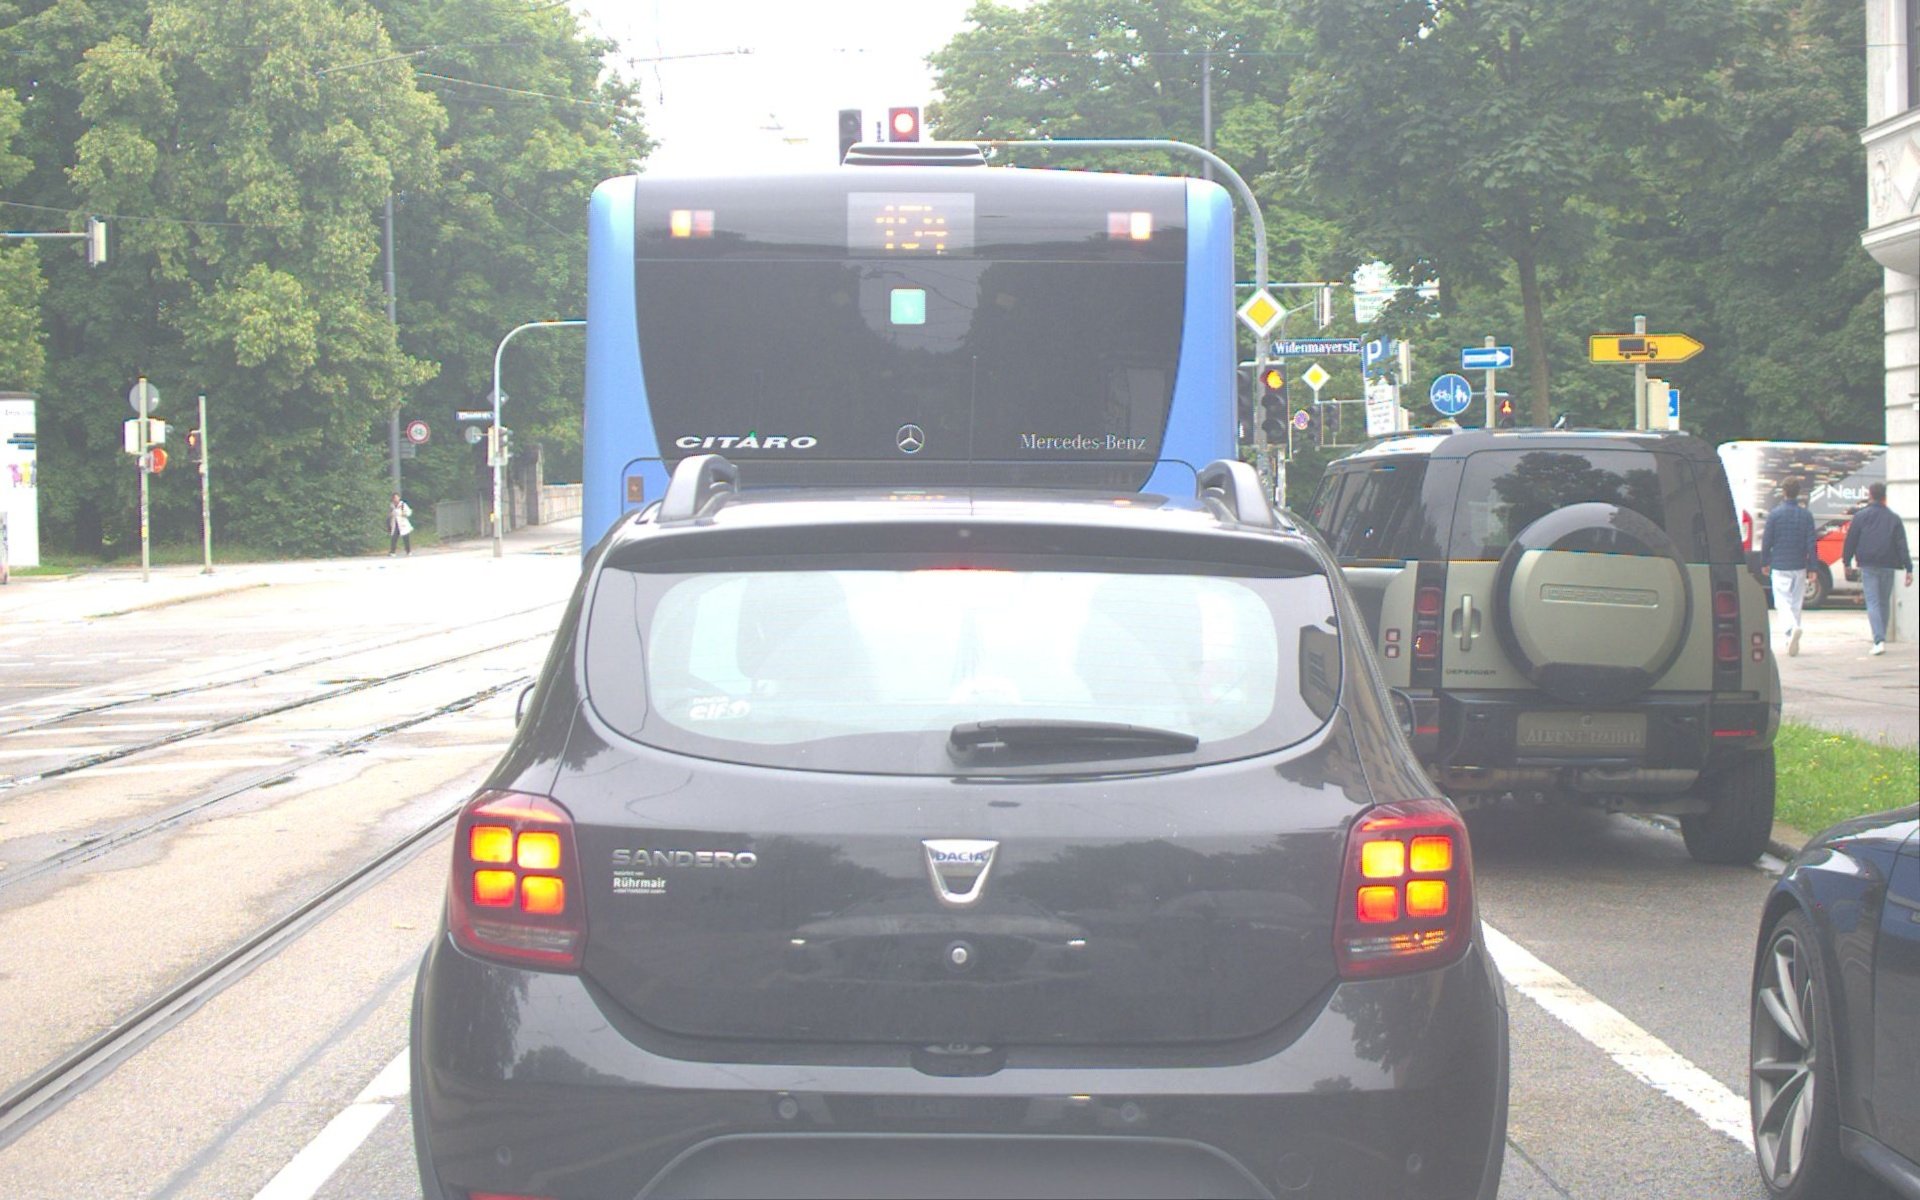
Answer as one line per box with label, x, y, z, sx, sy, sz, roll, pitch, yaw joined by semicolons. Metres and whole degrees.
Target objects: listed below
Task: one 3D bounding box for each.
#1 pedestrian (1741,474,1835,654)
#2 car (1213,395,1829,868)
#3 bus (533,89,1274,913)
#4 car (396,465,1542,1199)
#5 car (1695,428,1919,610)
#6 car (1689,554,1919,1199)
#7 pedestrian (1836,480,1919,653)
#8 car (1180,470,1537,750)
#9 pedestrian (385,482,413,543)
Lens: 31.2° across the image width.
pedestrian;8.491;-0.376;35.280;0.705;1.810;0.870;1;1;-1
car;2.476;0.086;16.478;1.914;1.899;4.809;1;1;-3
bus;-0.353;-0.424;16.180;2.678;2.987;6.962;1;1;-2
car;-0.027;0.568;6.631;1.600;1.551;3.525;1;1;-1
car;13.950;-1.185;51.458;5.295;2.603;2.231;1;1;-3
car;2.638;0.664;5.822;1.716;1.421;4.603;1;1;-1
pedestrian;9.368;-0.343;34.871;0.705;1.726;0.843;1;1;-1
car;2.446;0.015;22.055;1.714;1.586;4.327;1;1;-1
pedestrian;-13.878;-2.163;85.046;0.532;1.496;0.588;1;1;4
